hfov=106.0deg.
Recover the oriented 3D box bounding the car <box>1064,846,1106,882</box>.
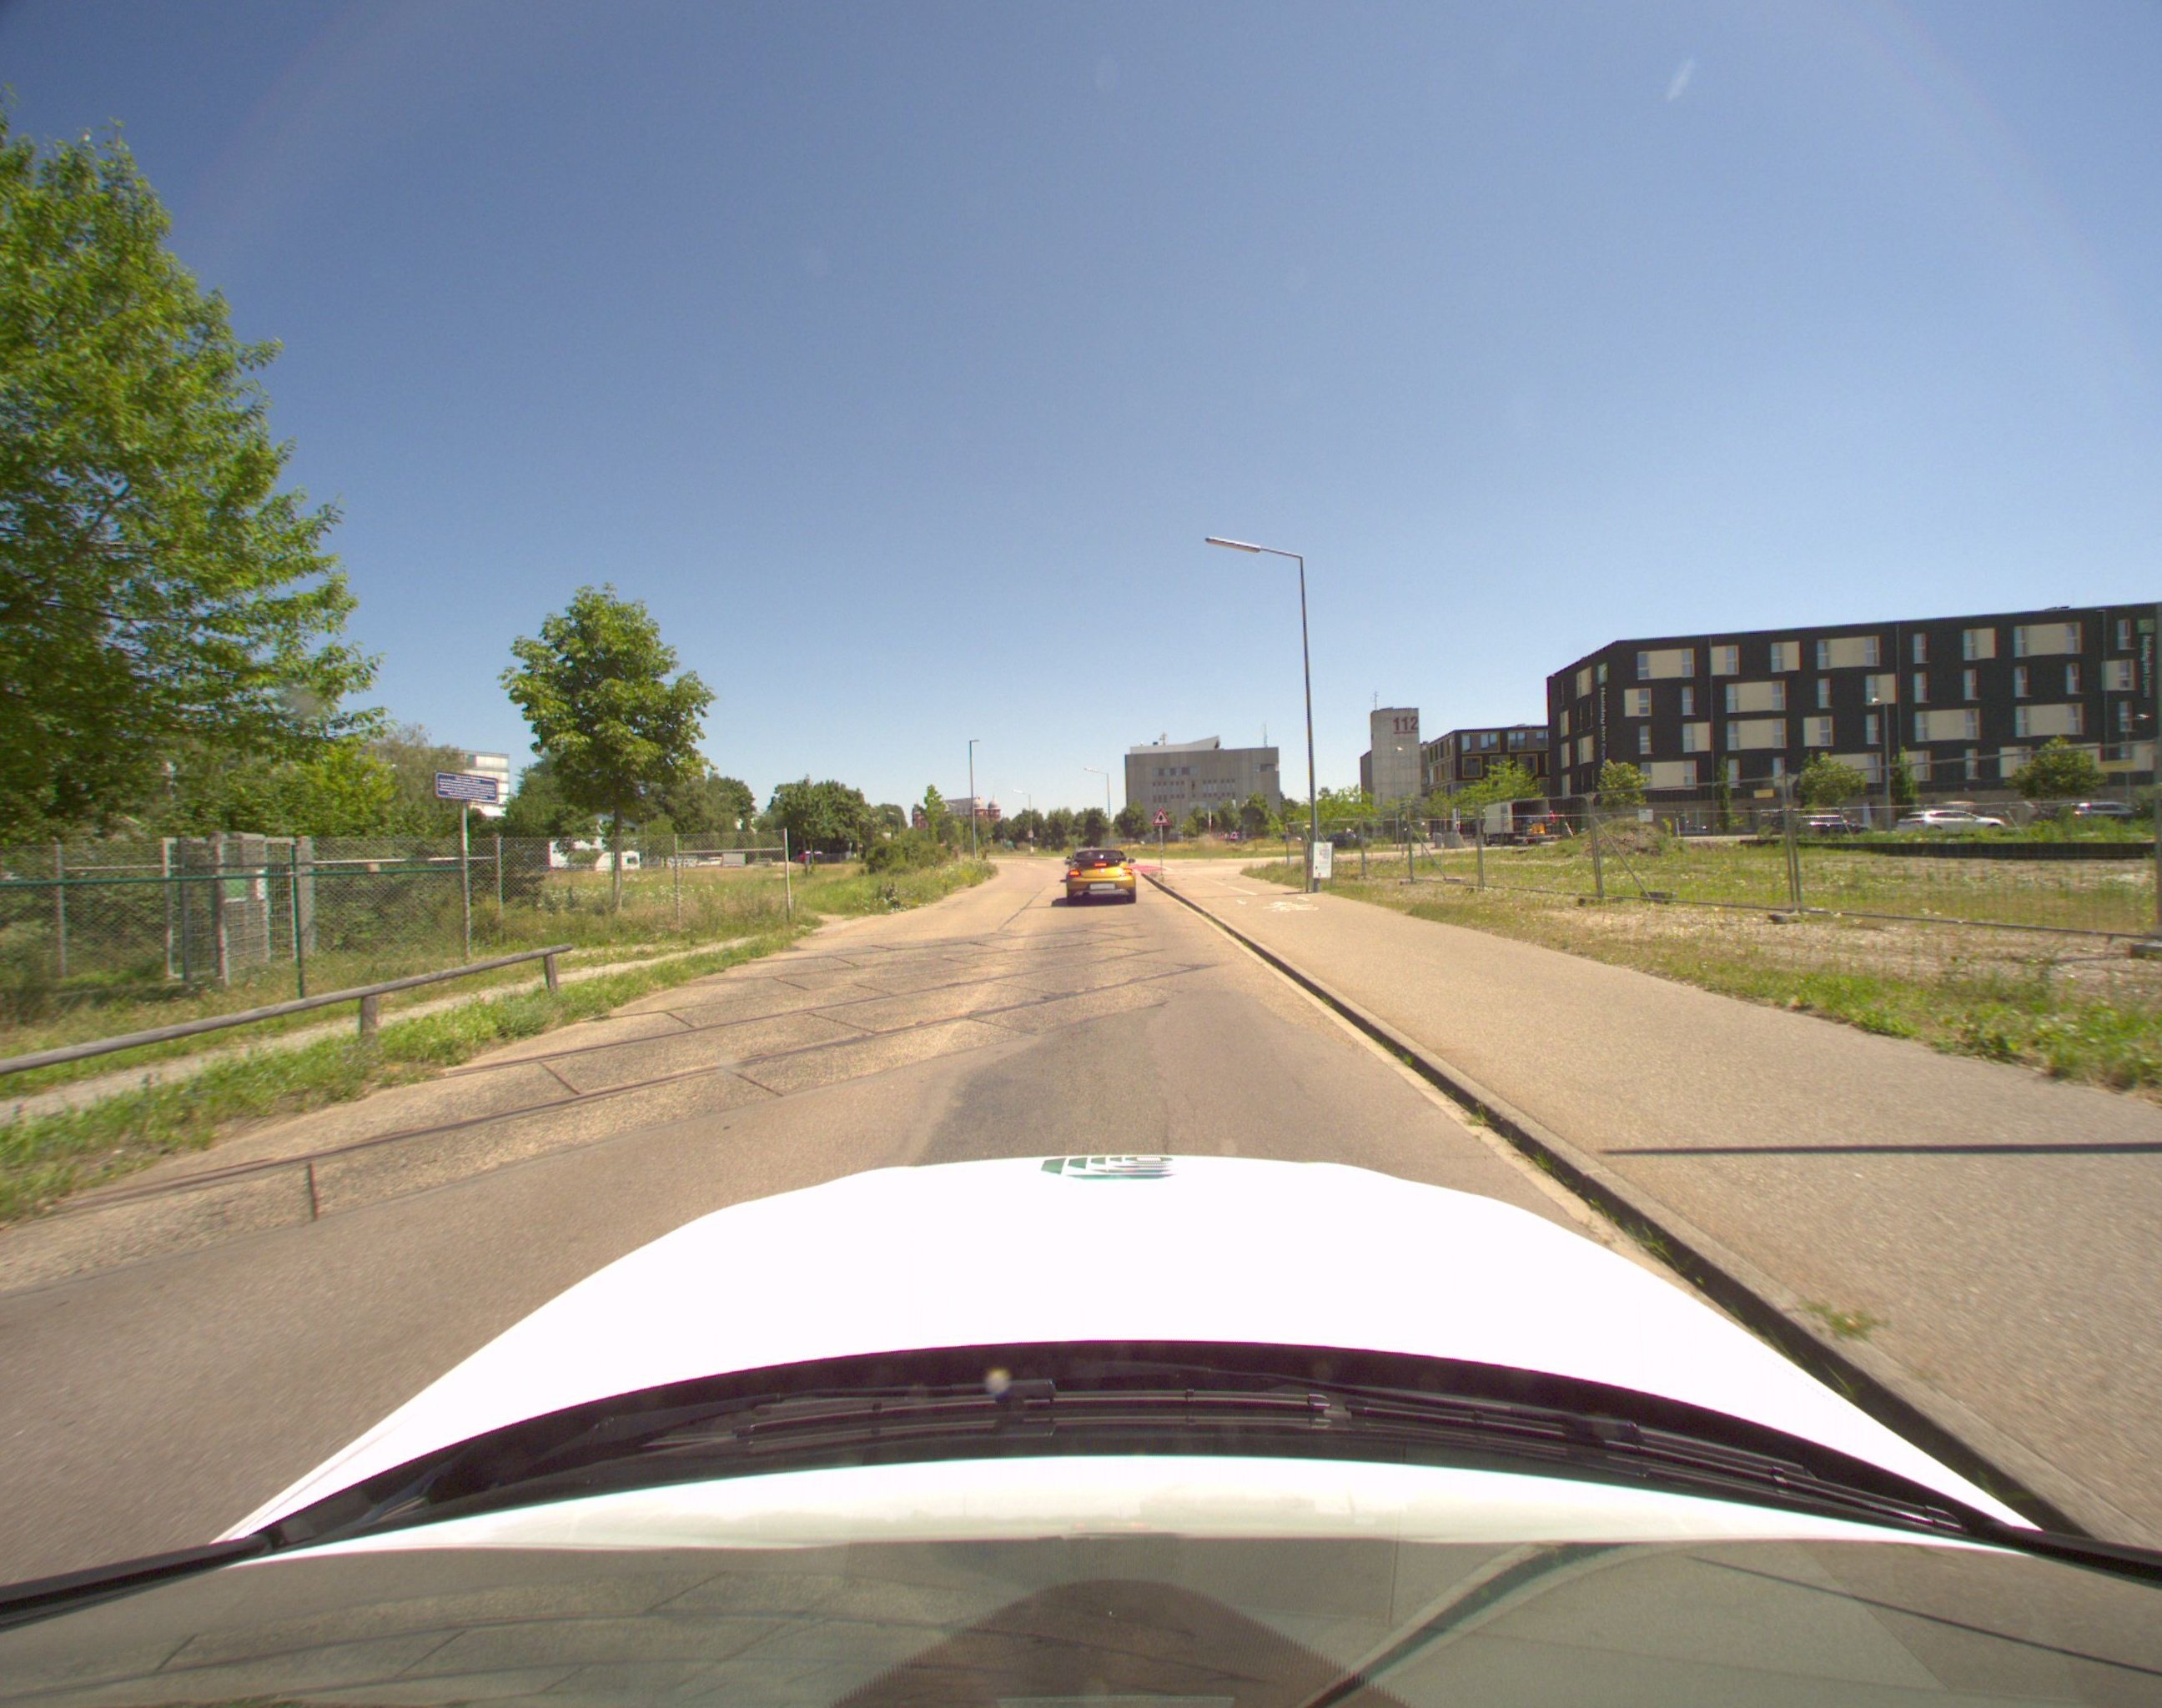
[{"bbox_3d":[0.216,0.395,36.024,1.720,1.443,4.001,-2,0,1],"label":"car"}]

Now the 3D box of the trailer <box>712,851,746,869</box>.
[{"bbox_3d":[-42.149,0.720,97.534,3.435,2.045,1.744,-2,1,-30],"label":"trailer"}]

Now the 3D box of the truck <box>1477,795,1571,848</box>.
[{"bbox_3d":[33.626,-2.340,62.512,2.988,3.461,12.182,-4,0,13],"label":"truck"}]

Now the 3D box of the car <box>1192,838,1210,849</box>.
[{"bbox_3d":[26.143,-2.345,177.183,3.817,2.294,1.748,-2,0,11],"label":"car"}]

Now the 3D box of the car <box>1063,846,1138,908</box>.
[{"bbox_3d":[0.527,0.552,21.739,1.783,1.436,3.815,-2,1,2],"label":"car"}]

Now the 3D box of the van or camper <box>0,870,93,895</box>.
[{"bbox_3d":[-88.029,2.381,68.905,5.078,1.880,2.334,-2,1,-33],"label":"van or camper"}]

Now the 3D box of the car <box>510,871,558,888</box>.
[{"bbox_3d":[-58.753,2.698,87.491,4.010,1.552,1.898,-2,0,-28],"label":"car"}]

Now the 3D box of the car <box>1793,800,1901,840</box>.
[{"bbox_3d":[42.041,-1.824,44.782,3.875,2.013,1.888,-2,0,15],"label":"car"}]

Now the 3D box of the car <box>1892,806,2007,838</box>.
[{"bbox_3d":[47.265,-1.730,44.396,4.005,1.557,1.755,-2,0,11],"label":"car"}]

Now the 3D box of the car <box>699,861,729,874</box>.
[{"bbox_3d":[-47.624,1.732,105.728,3.354,1.577,1.756,-3,0,-28],"label":"car"}]

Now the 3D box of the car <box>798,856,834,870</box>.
[{"bbox_3d":[-38.945,1.290,119.610,4.844,1.840,1.985,-2,0,-23],"label":"car"}]

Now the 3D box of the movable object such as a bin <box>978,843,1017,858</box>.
[{"bbox_3d":[-19.791,-0.720,192.314,4.974,3.260,10.361,-2,0,-33],"label":"movable object such as a bin"}]

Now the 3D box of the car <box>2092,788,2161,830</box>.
[{"bbox_3d":[54.602,-2.300,41.307,3.878,2.014,1.886,-1,-1,11],"label":"car"}]

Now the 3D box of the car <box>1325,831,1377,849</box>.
[{"bbox_3d":[25.999,-1.320,78.462,4.466,1.562,2.037,-2,1,9],"label":"car"}]

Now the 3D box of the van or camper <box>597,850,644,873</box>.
[{"bbox_3d":[-51.735,0.841,91.587,4.479,2.591,2.469,0,-1,-30],"label":"van or camper"}]
